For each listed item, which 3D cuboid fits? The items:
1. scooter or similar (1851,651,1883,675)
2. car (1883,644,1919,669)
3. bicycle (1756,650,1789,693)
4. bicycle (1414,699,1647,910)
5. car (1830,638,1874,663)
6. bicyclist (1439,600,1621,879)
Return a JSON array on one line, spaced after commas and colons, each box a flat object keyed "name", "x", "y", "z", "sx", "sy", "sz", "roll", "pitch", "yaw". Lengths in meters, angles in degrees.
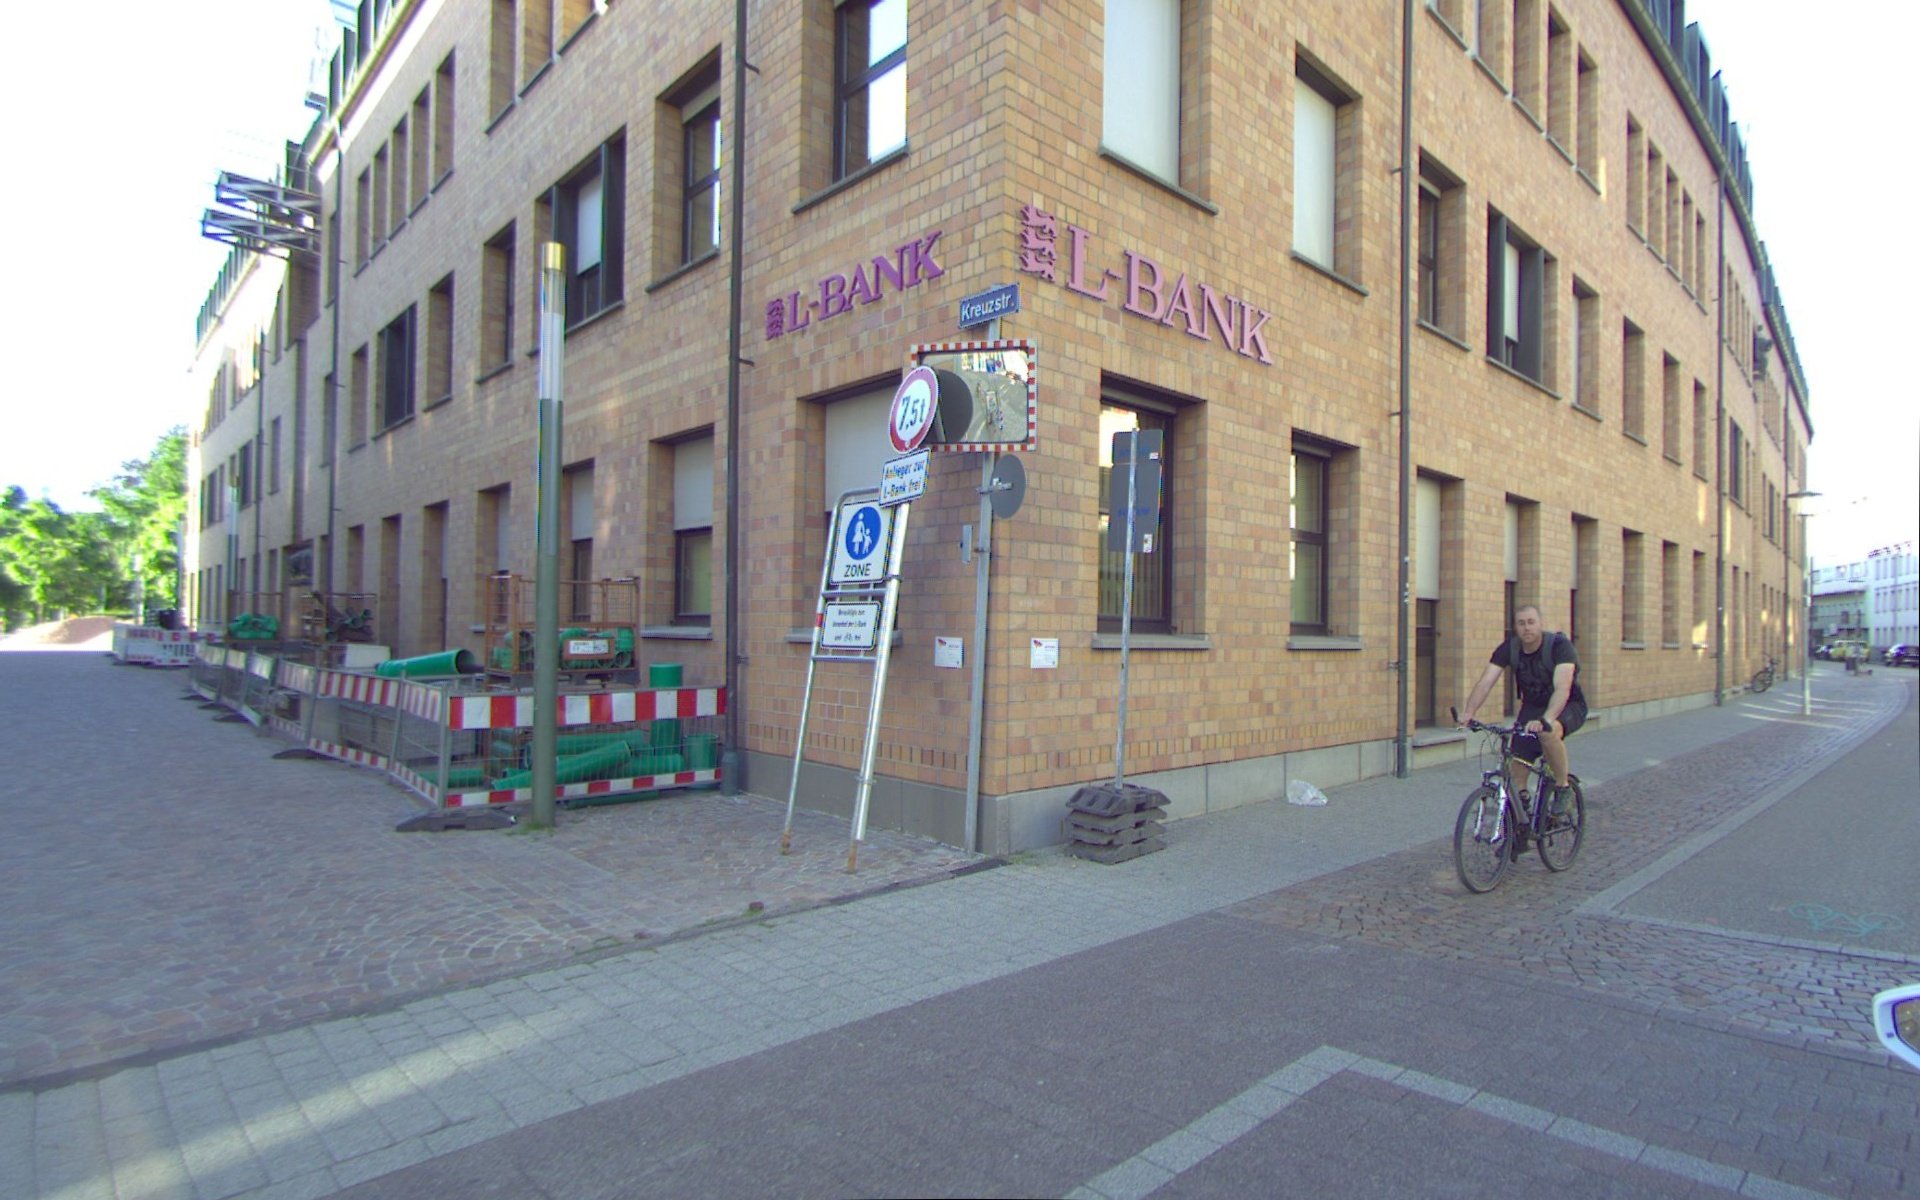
[{"name": "scooter or similar", "x": 47.770, "y": 3.337, "z": 52.901, "sx": 1.337, "sy": 1.233, "sz": 0.696, "roll": 1, "pitch": -2, "yaw": -22}, {"name": "car", "x": 70.565, "y": 4.172, "z": 74.828, "sx": 1.941, "sy": 1.714, "sz": 4.090, "roll": 2, "pitch": -1, "yaw": 33}, {"name": "bicycle", "x": 24.202, "y": 2.111, "z": 29.944, "sx": 0.623, "sy": 1.178, "sz": 1.797, "roll": 4, "pitch": 1, "yaw": 36}, {"name": "bicycle", "x": 3.750, "y": 1.250, "z": 6.556, "sx": 1.719, "sy": 1.146, "sz": 0.646, "roll": 2, "pitch": -5, "yaw": -37}, {"name": "car", "x": 79.051, "y": 4.444, "z": 89.109, "sx": 2.022, "sy": 2.040, "sz": 4.169, "roll": 1, "pitch": -1, "yaw": 29}, {"name": "bicyclist", "x": 3.723, "y": 0.870, "z": 6.569, "sx": 0.917, "sy": 1.663, "sz": 0.657, "roll": 2, "pitch": -5, "yaw": -37}]
